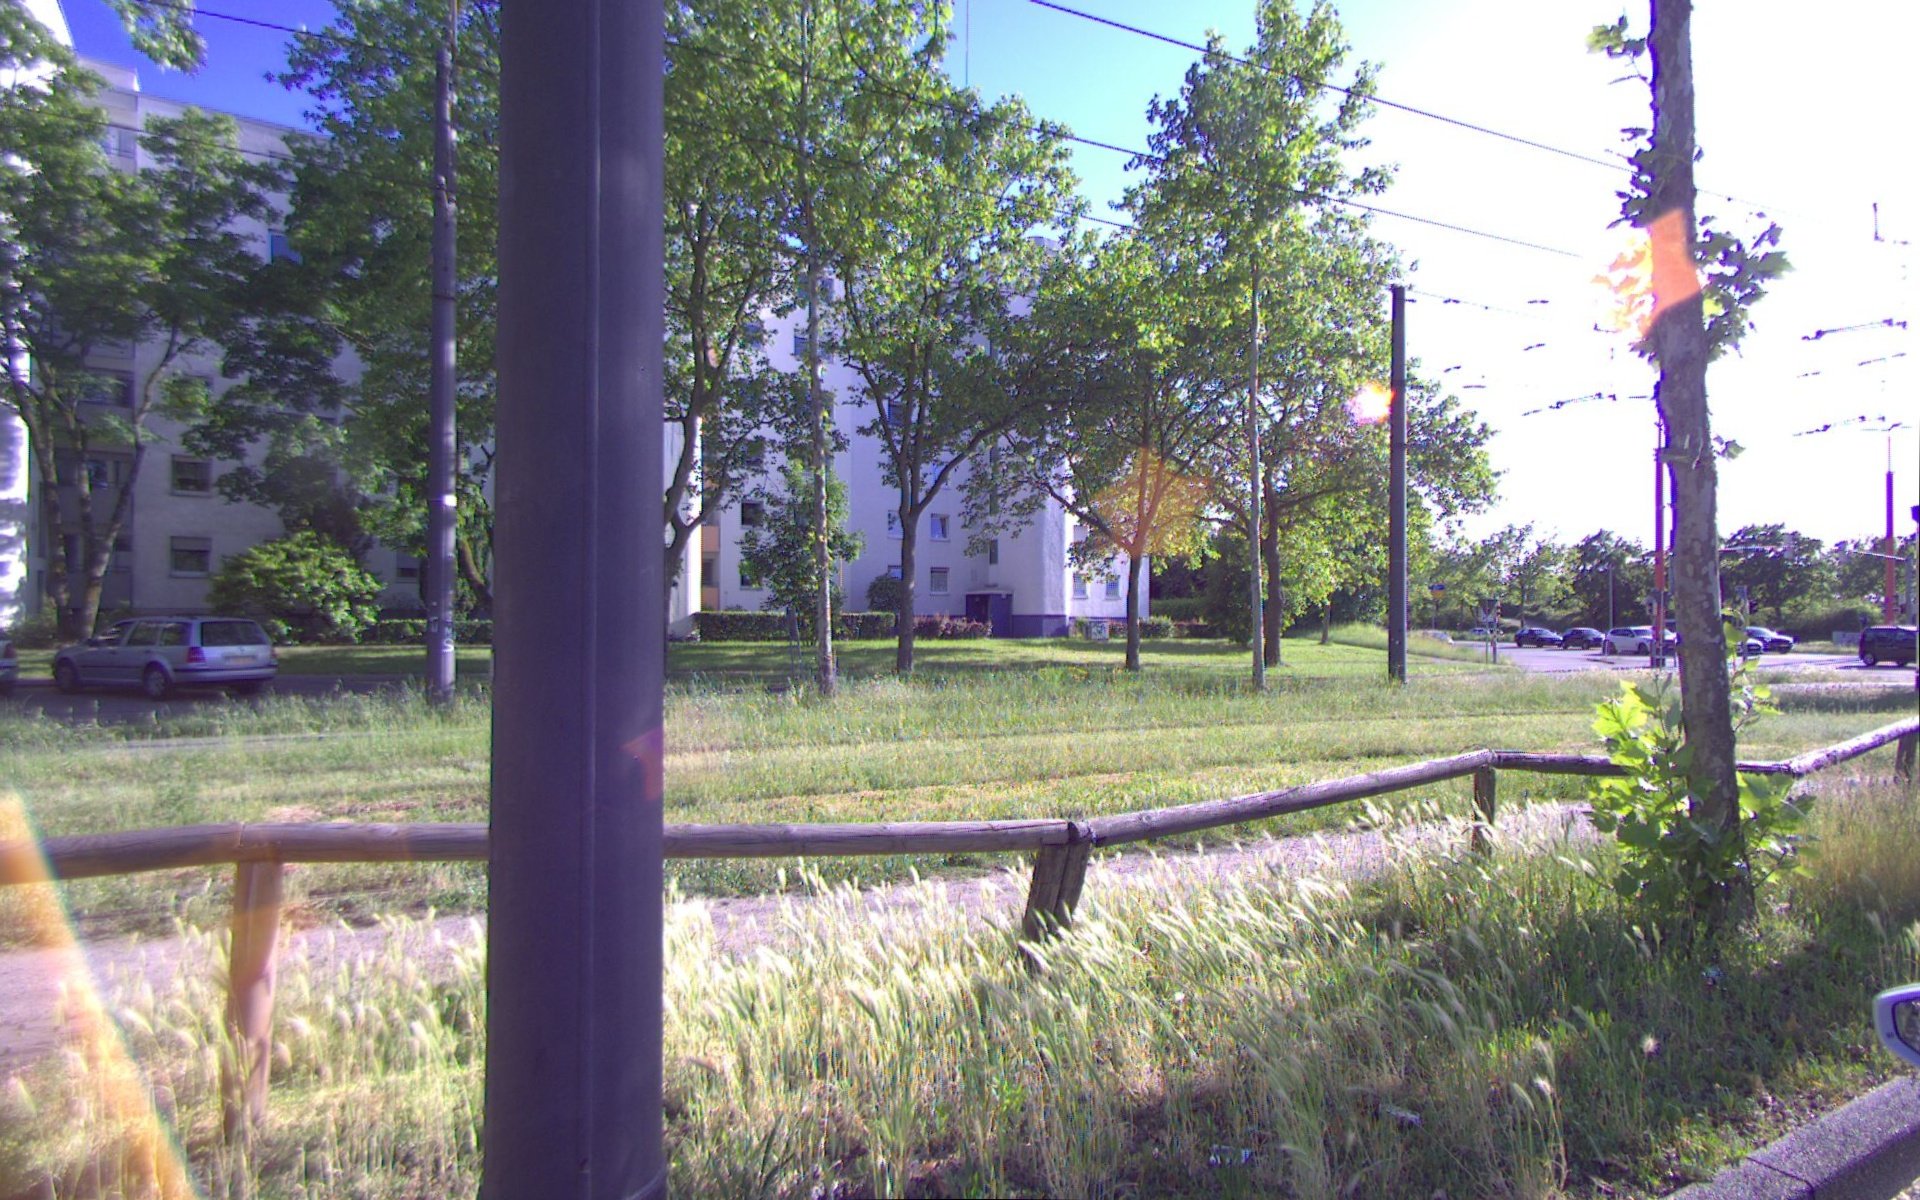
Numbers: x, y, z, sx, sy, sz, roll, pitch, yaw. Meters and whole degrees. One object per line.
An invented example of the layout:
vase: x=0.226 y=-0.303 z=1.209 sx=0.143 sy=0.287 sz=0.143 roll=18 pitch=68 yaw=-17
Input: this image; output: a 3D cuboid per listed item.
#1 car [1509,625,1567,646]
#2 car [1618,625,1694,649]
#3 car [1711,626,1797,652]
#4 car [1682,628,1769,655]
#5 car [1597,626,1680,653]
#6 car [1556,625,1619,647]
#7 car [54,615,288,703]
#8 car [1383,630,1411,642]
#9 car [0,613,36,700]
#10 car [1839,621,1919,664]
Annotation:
car: x=44.820 y=2.745 z=77.940 sx=1.877 sy=1.483 sz=4.239 roll=1 pitch=-1 yaw=-3
car: x=45.520 y=2.408 z=65.796 sx=1.877 sy=1.483 sz=4.373 roll=1 pitch=-1 yaw=-2
car: x=48.615 y=2.393 z=61.631 sx=1.877 sy=1.483 sz=4.222 roll=1 pitch=-1 yaw=-2
car: x=45.651 y=2.466 z=60.031 sx=1.877 sy=1.483 sz=4.222 roll=1 pitch=-1 yaw=-2
car: x=42.453 y=2.452 z=63.023 sx=1.877 sy=1.619 sz=4.795 roll=1 pitch=-1 yaw=-2
car: x=44.995 y=2.568 z=72.131 sx=1.877 sy=1.483 sz=4.055 roll=1 pitch=-1 yaw=-3
car: x=-14.483 y=1.029 z=18.474 sx=3.609 sy=1.452 sz=1.732 roll=0 pitch=-1 yaw=20
car: x=62.577 y=5.164 z=143.885 sx=1.961 sy=1.617 sz=4.468 roll=1 pitch=-1 yaw=-1
car: x=-17.927 y=0.930 z=17.129 sx=3.609 sy=1.452 sz=1.703 roll=0 pitch=-1 yaw=20
car: x=42.789 y=1.917 z=45.379 sx=1.877 sy=1.860 sz=4.795 roll=1 pitch=-1 yaw=-2
